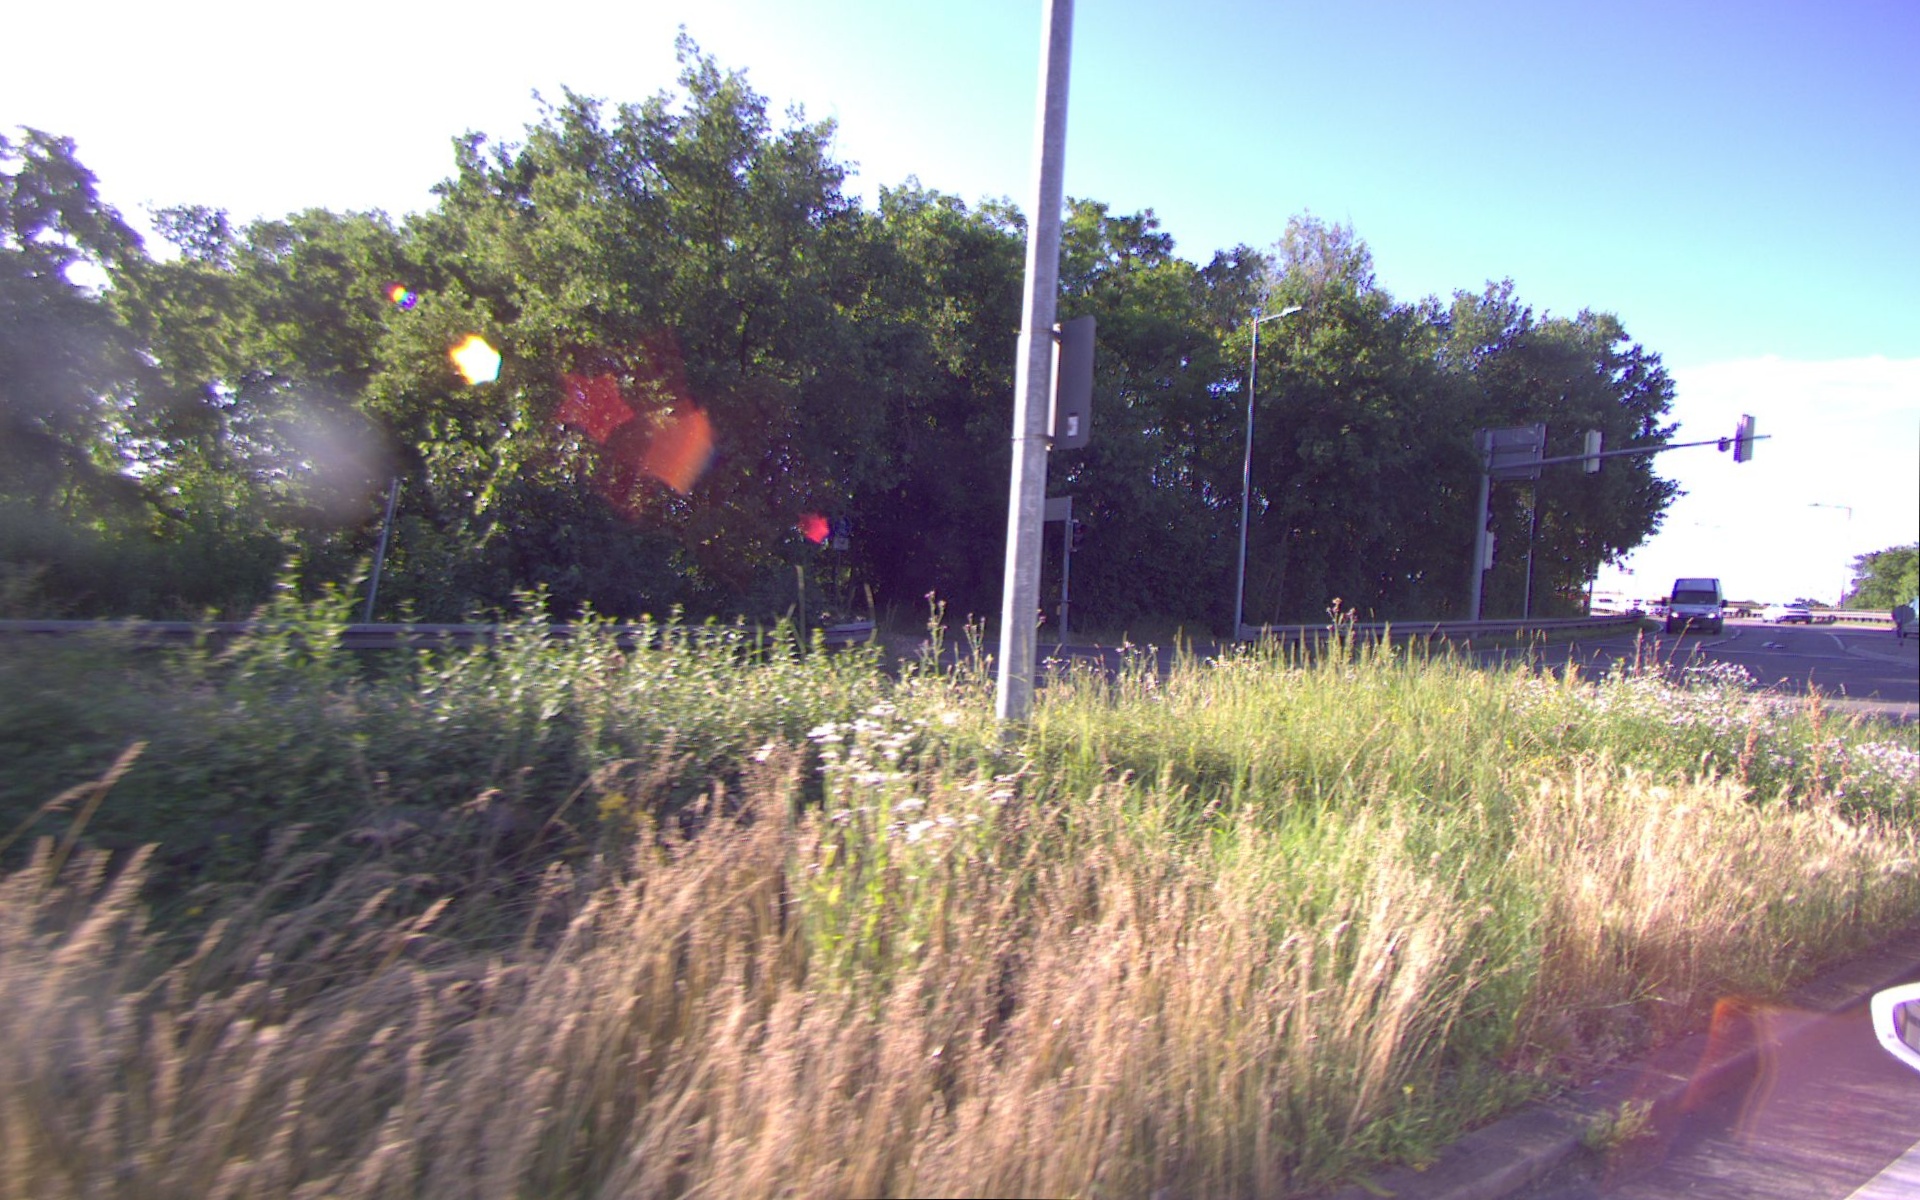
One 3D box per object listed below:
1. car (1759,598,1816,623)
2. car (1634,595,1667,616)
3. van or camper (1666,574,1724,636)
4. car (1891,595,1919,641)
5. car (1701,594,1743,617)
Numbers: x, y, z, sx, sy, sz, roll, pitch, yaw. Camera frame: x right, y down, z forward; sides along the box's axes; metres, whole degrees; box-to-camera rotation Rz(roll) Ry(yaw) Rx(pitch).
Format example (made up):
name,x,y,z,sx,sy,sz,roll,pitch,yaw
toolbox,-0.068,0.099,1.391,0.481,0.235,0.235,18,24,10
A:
name,x,y,z,sx,sy,sz,roll,pitch,yaw
car,55.771,0.704,67.796,1.938,1.494,4.150,3,2,26
car,56.445,0.431,82.141,1.841,1.494,3.902,3,2,30
van or camper,35.030,0.200,47.830,2.023,2.709,6.906,2,1,37
car,41.525,0.784,42.555,1.964,1.905,4.242,3,2,28
car,64.822,0.437,85.495,1.938,1.721,3.996,3,2,25
